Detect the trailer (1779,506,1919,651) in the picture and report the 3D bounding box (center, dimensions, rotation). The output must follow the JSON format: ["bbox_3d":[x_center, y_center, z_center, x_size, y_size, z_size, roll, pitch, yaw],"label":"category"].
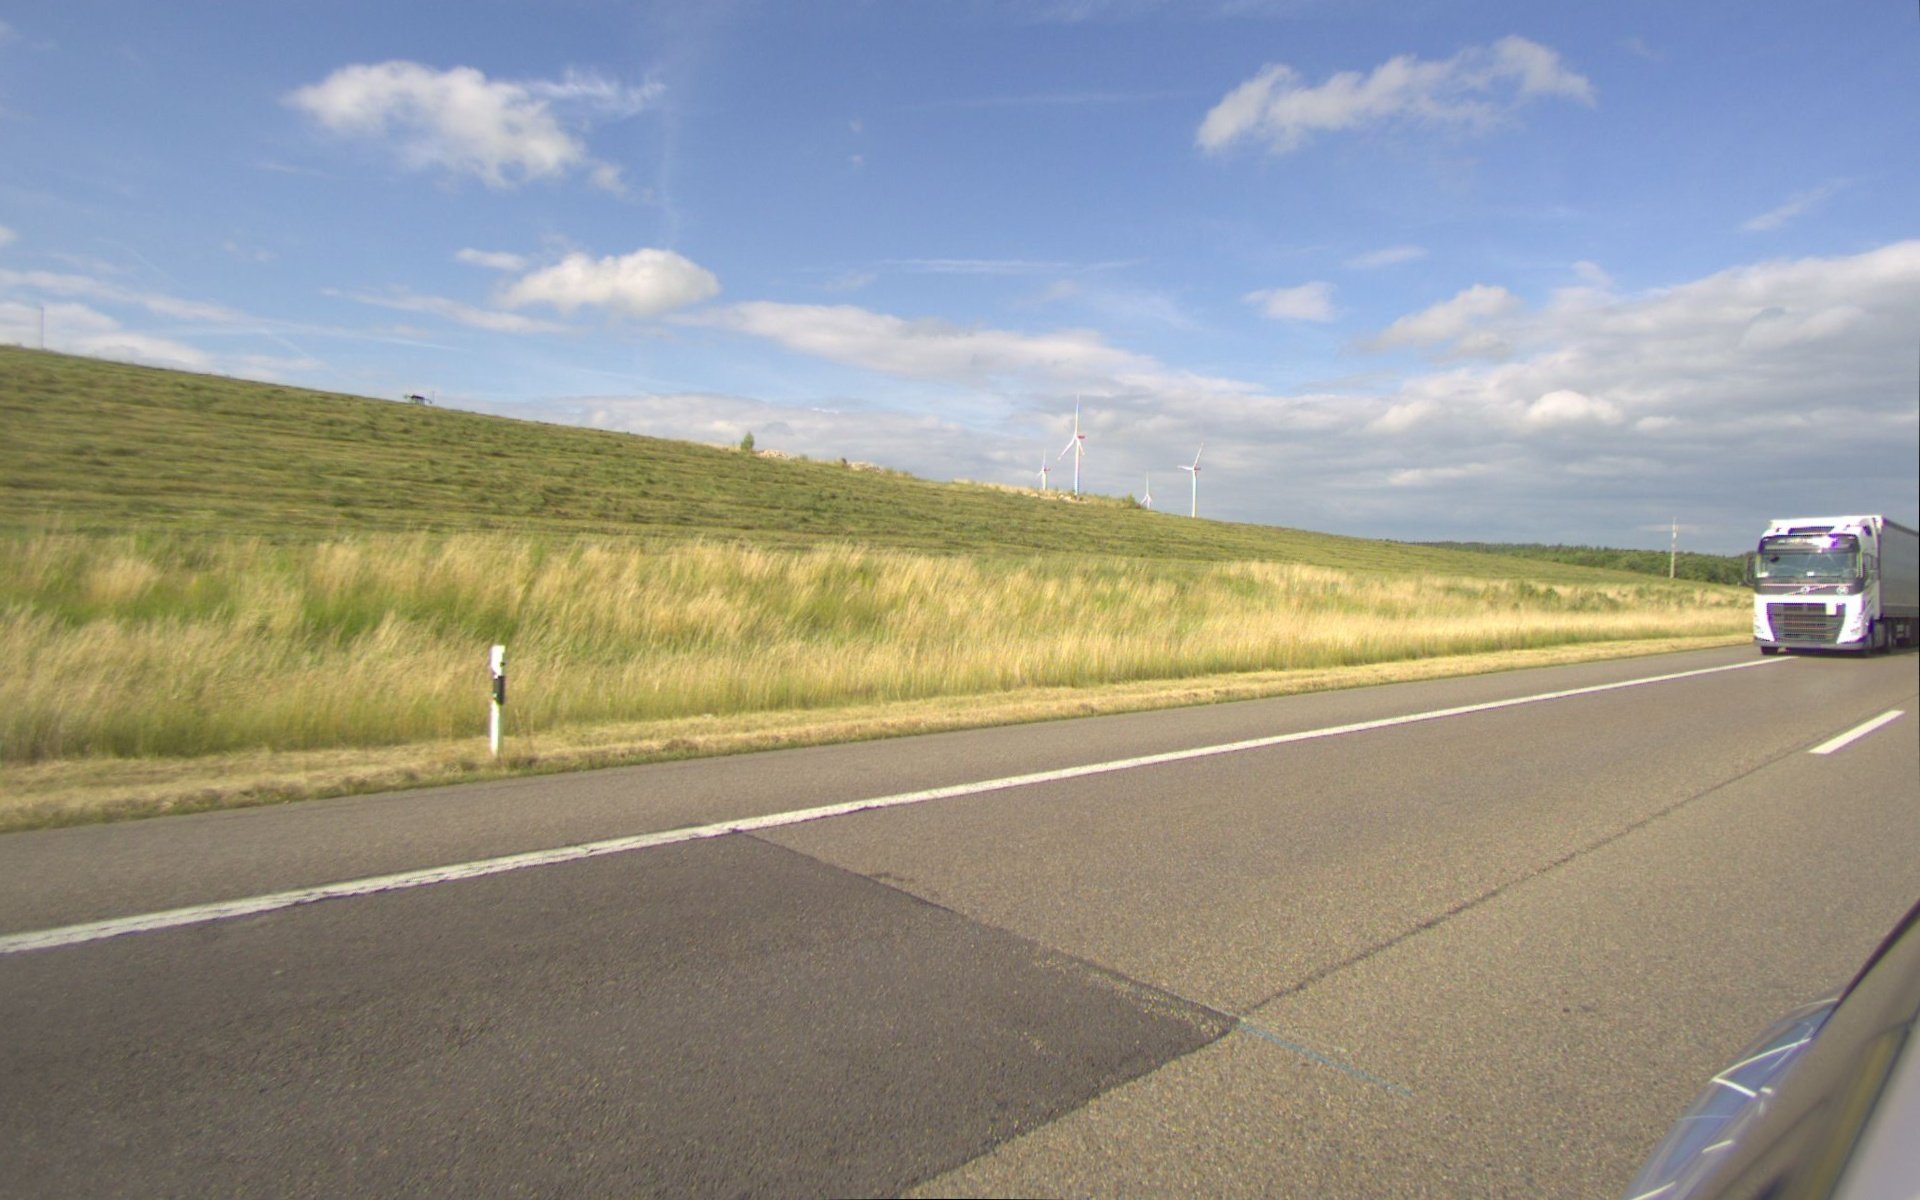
[{"bbox_3d":[30.530,-0.564,33.797,13.458,4.092,2.621,1,0,-41],"label":"trailer"}]

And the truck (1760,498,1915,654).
[{"bbox_3d":[25.691,-0.630,29.541,6.012,4.092,2.605,1,0,-41],"label":"truck"}]
